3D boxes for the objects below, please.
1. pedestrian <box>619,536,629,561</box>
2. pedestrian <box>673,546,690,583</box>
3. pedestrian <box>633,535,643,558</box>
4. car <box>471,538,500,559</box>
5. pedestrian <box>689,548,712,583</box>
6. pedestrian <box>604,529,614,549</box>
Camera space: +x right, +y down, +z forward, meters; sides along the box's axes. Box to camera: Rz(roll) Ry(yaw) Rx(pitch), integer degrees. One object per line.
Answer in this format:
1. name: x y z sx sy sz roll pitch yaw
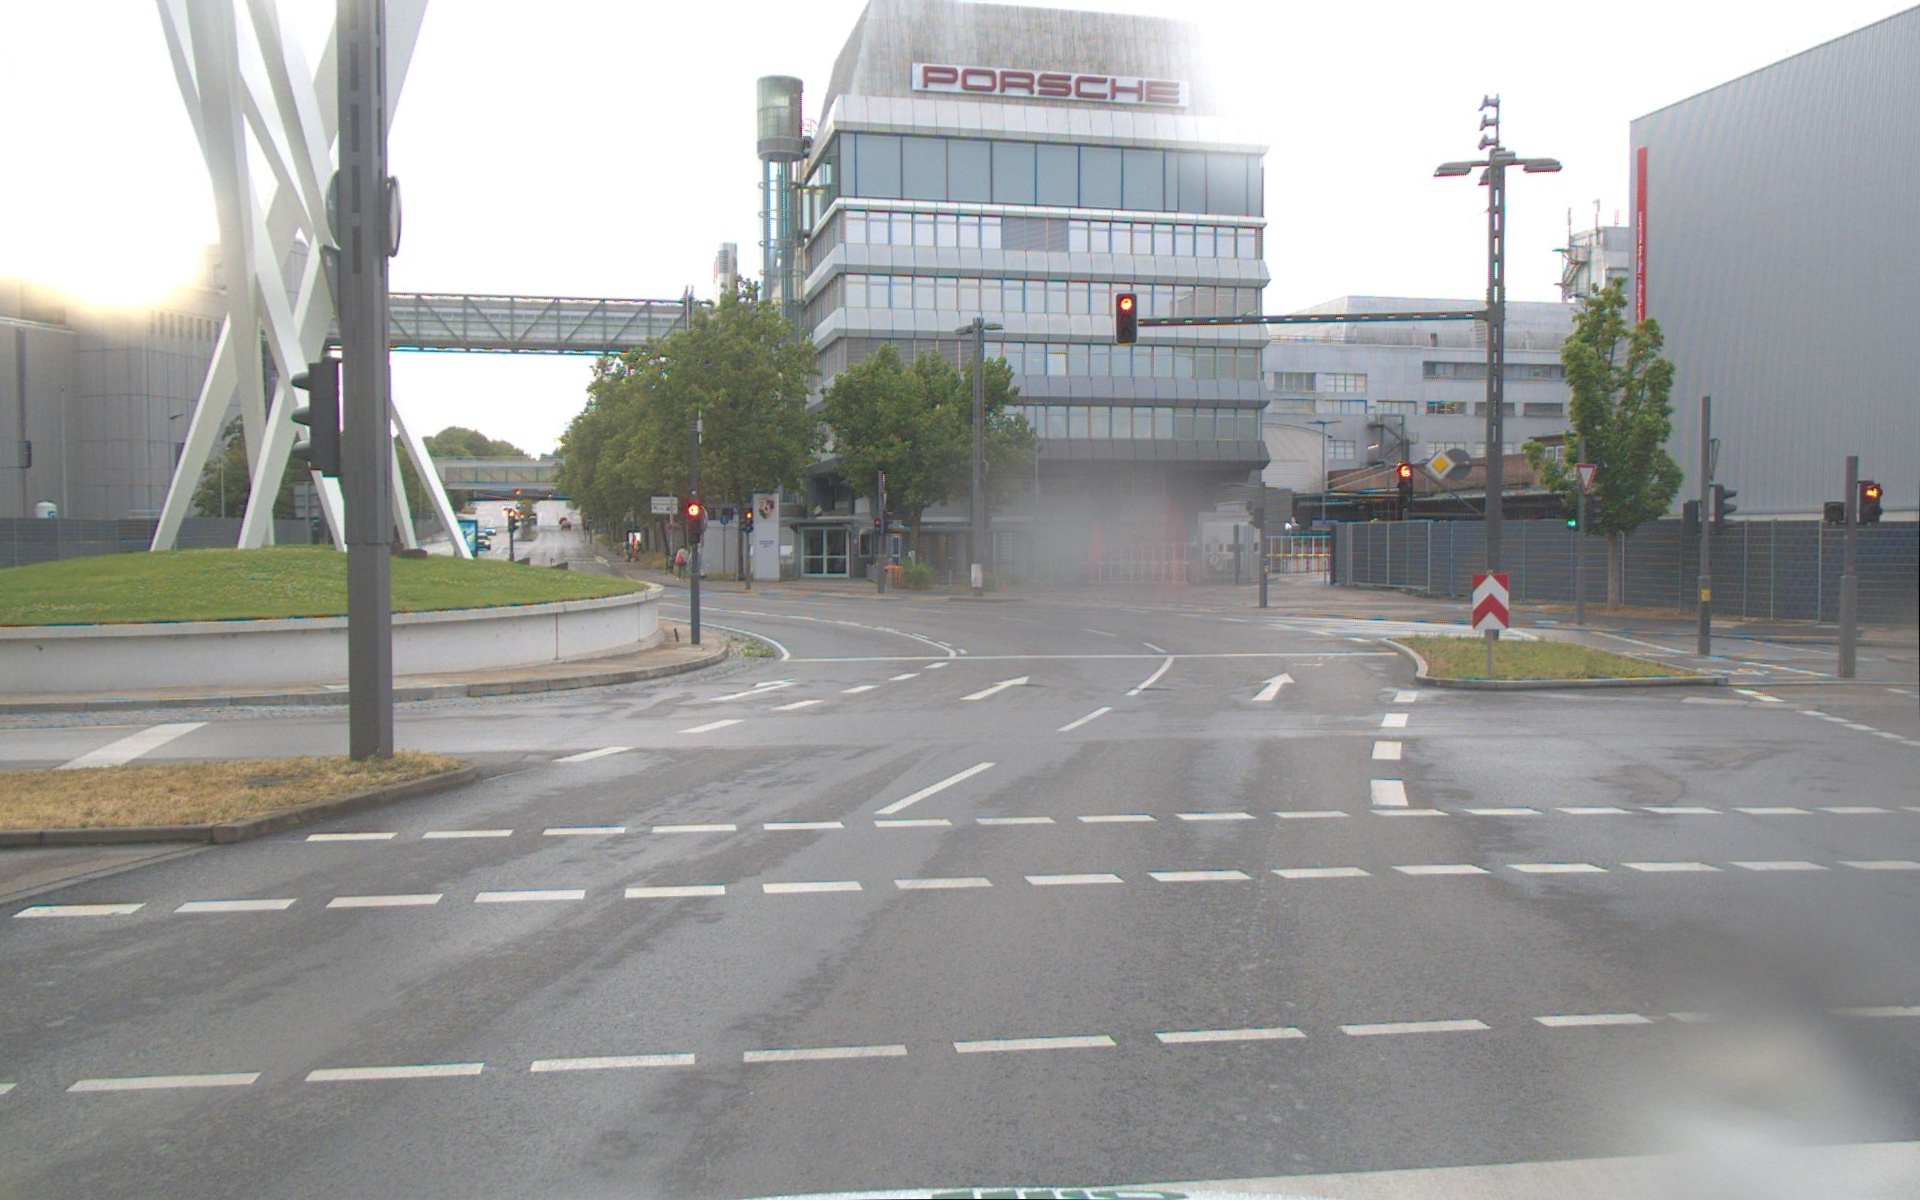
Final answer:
1. pedestrian: -24.251 -3.713 119.336 0.699 1.770 0.757 1 -1 -14
2. pedestrian: -12.535 -1.592 74.432 0.696 1.619 0.839 -1 2 -10
3. pedestrian: -25.339 -4.212 130.119 0.744 1.770 0.712 1 -1 -10
4. car: -50.757 -5.488 176.989 1.953 2.049 3.999 1 0 -1
5. pedestrian: -11.594 -1.536 73.831 0.821 1.547 0.835 -1 2 -25
6. pedestrian: -35.114 -6.095 165.508 0.749 2.049 0.693 0 1 3
